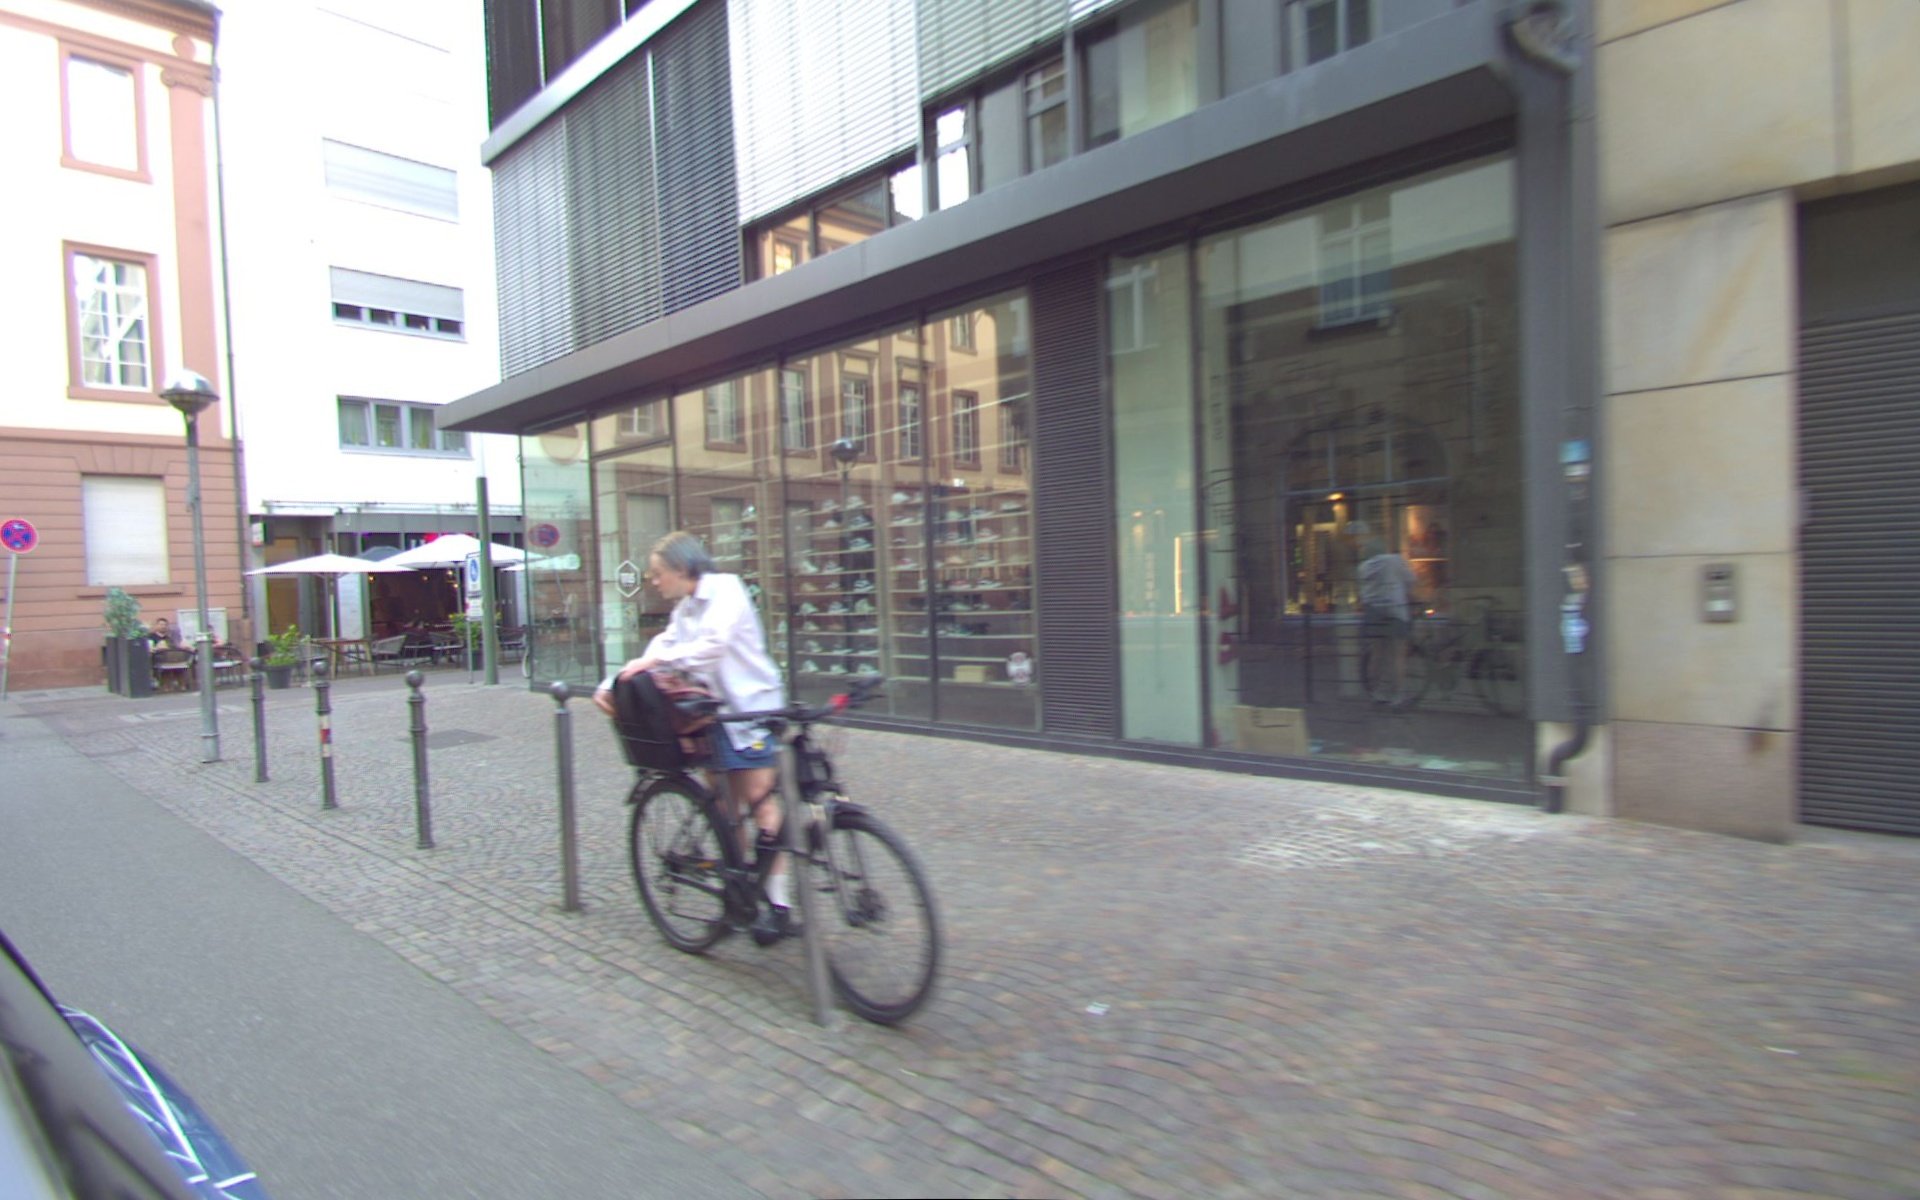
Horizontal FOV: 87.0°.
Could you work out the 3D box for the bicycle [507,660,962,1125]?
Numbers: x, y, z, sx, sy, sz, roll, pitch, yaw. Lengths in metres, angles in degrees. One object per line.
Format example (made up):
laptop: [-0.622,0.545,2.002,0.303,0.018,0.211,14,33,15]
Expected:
bicycle: [-0.898,0.841,3.575,1.915,1.162,0.527,-2,3,44]

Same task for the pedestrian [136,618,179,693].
pedestrian: [-14.997,1.023,18.915,0.541,1.359,0.489,-3,1,-45]

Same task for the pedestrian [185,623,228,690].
pedestrian: [-14.317,1.067,19.223,0.541,1.220,0.524,-3,1,-45]

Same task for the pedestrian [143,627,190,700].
pedestrian: [-13.976,1.104,17.821,0.554,1.220,0.461,-3,1,-45]

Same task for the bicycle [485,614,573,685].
bicycle: [-7.413,0.850,17.362,1.673,1.121,0.700,-4,0,42]

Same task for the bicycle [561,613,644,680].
bicycle: [-6.645,0.872,18.766,1.841,1.159,0.601,-4,0,42]

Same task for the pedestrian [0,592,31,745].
pedestrian: [-11.777,0.831,11.994,0.739,1.798,0.957,-2,1,36]

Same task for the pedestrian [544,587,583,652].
pedestrian: [-10.535,0.518,26.904,0.619,1.678,0.667,-2,1,15]

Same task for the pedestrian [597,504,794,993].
pedestrian: [-1.030,0.522,4.048,0.582,1.731,0.772,-4,2,-11]
